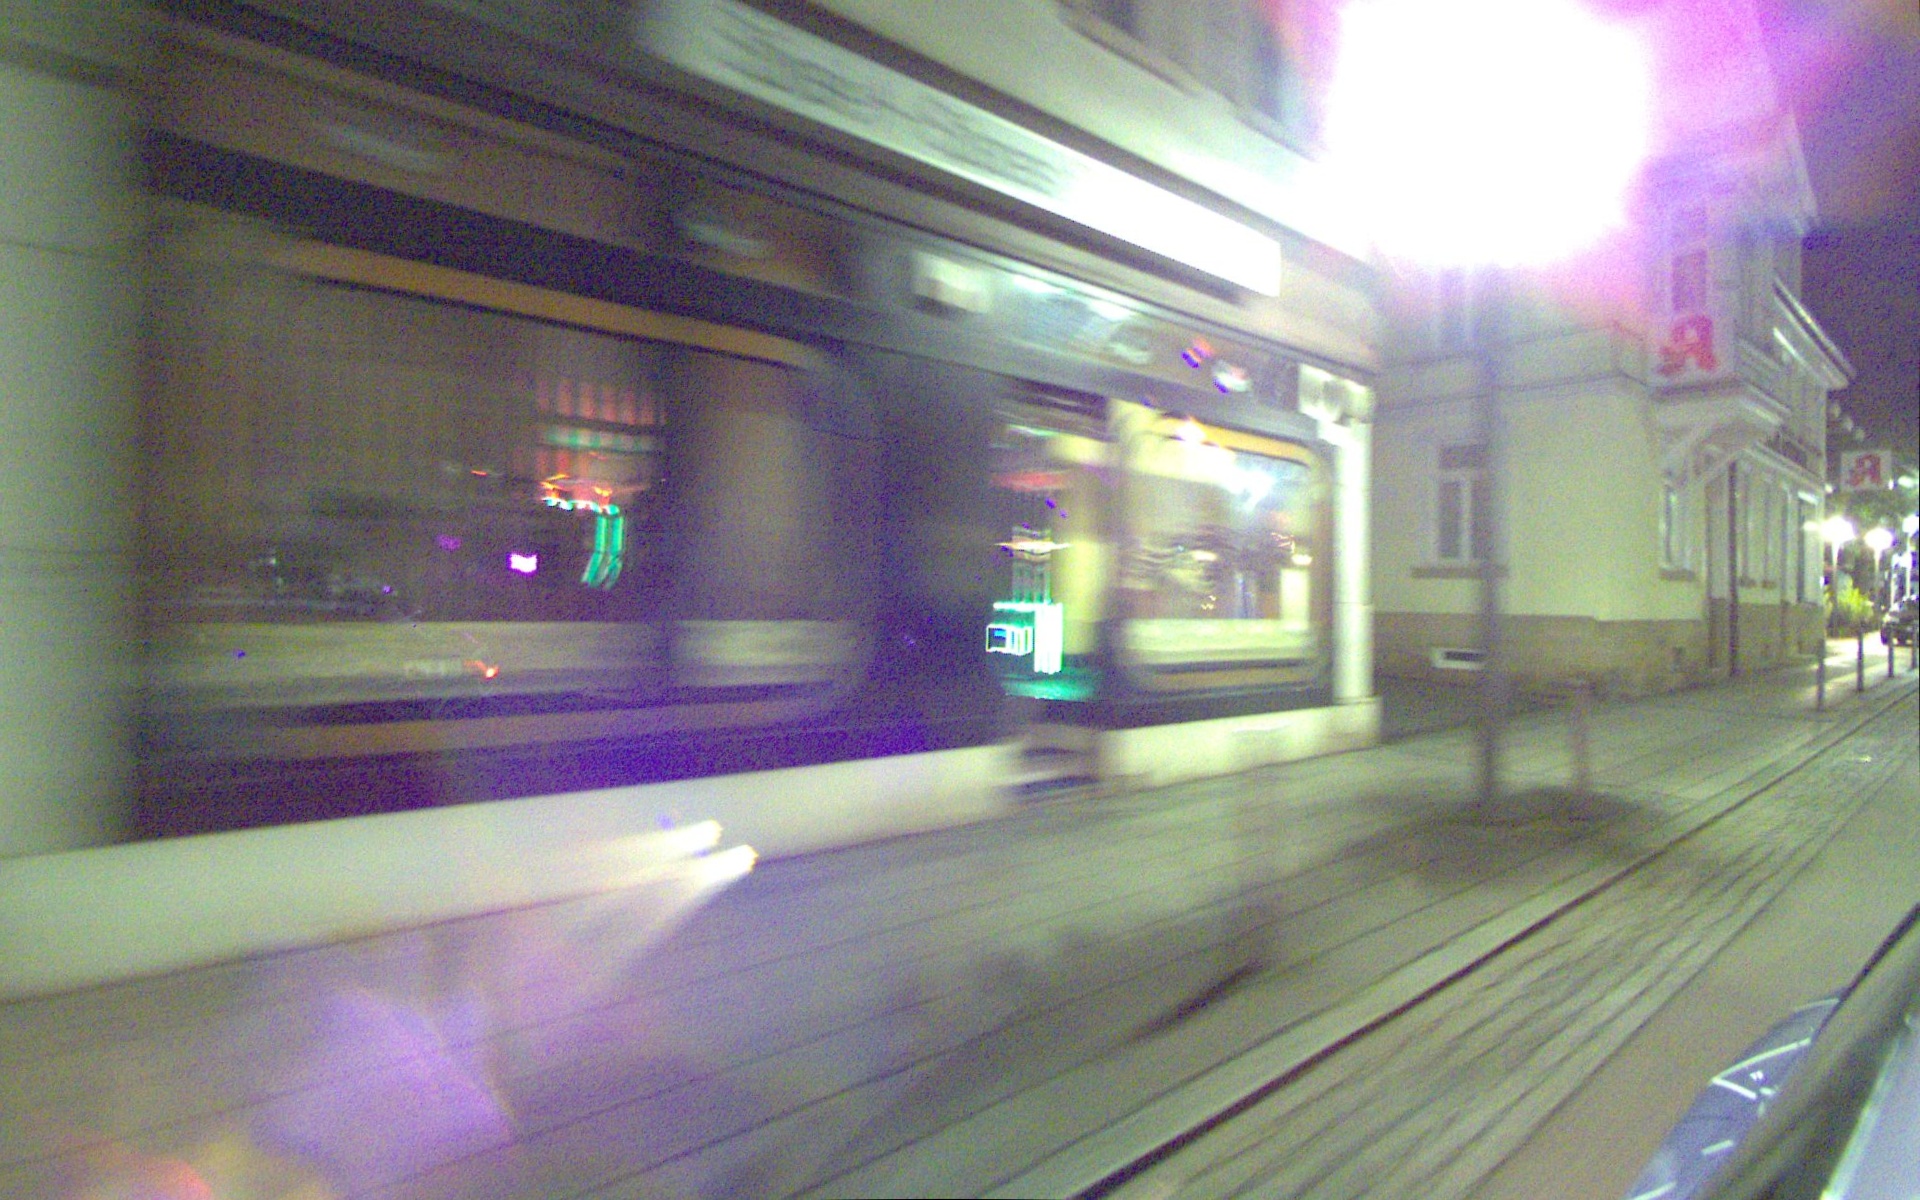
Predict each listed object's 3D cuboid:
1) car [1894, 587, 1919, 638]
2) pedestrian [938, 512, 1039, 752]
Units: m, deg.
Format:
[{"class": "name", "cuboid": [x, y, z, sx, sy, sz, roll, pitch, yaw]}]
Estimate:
[{"class": "car", "cuboid": [28.527, 0.358, 29.194, 4.029, 1.394, 1.666, -1, 3, -38]}, {"class": "pedestrian", "cuboid": [0.191, 0.205, 6.932, 0.471, 1.567, 0.502, 0, 0, -35]}]
